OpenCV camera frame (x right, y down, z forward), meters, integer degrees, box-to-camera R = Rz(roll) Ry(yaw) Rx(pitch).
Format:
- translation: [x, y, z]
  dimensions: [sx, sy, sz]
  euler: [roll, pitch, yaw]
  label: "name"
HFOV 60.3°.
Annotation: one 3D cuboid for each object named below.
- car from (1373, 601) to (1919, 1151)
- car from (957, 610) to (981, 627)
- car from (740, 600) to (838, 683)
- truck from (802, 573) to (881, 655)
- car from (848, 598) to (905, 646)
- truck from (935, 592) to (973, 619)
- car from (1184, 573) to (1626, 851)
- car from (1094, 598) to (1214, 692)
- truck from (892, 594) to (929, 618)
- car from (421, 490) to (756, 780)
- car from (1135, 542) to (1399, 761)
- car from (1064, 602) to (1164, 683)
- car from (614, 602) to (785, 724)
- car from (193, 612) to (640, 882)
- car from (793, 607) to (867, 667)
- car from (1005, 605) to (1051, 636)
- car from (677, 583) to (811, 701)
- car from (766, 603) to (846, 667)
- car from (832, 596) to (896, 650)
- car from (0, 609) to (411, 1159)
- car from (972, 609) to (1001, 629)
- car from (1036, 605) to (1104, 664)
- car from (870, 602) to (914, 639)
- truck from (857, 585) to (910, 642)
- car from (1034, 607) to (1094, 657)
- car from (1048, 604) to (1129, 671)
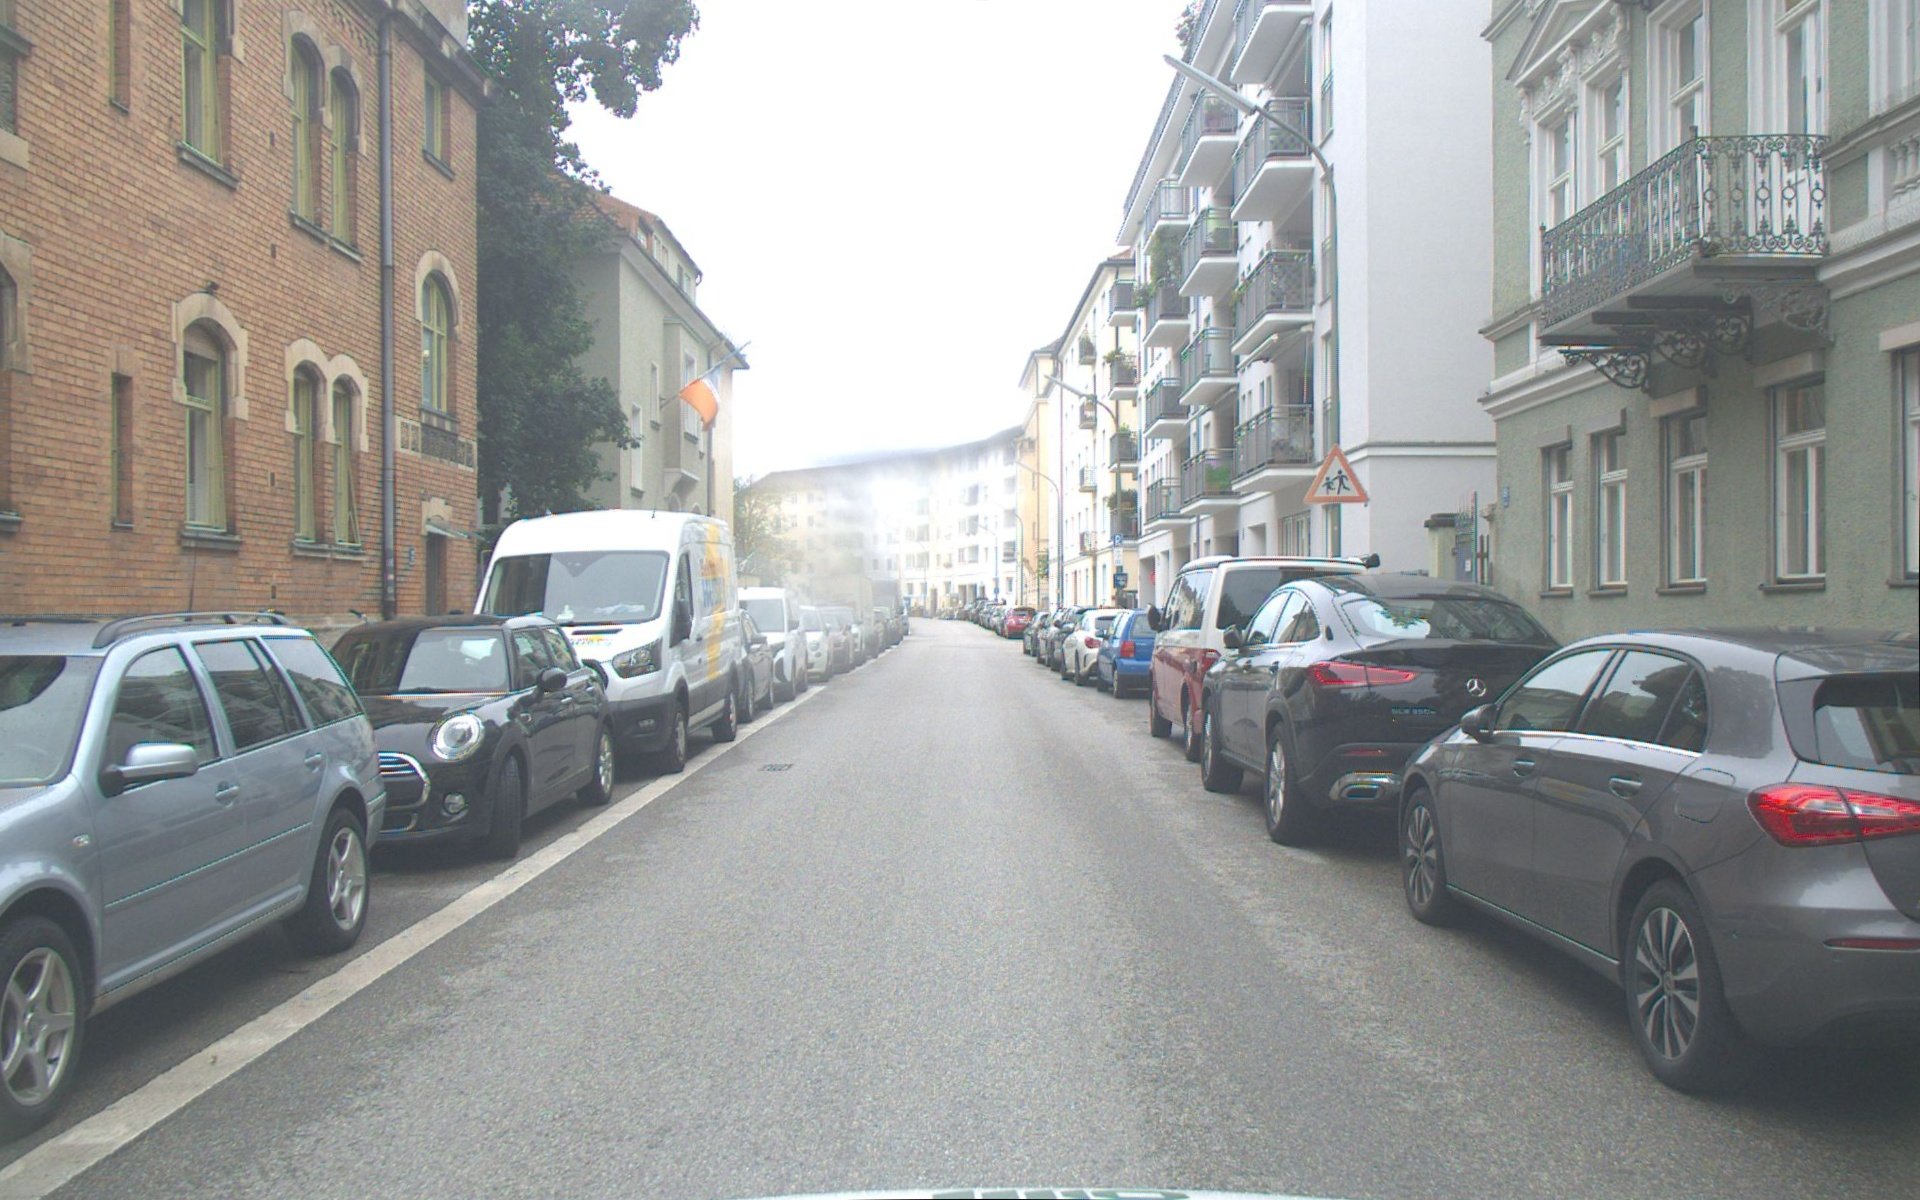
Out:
- translation: [3.101, 0.774, 6.711]
  dimensions: [1.692, 1.485, 4.415]
  euler: [1, 0, -1]
  label: "car"
- translation: [0.737, 1.552, 139.302]
  dimensions: [1.747, 1.409, 3.997]
  euler: [0, 0, -4]
  label: "car"
- translation: [-3.413, 0.811, 33.554]
  dimensions: [1.809, 1.567, 3.996]
  euler: [-1, -1, -4]
  label: "car"
- translation: [-3.590, 0.419, 50.845]
  dimensions: [1.952, 2.359, 5.410]
  euler: [-1, -1, 1]
  label: "truck"
- translation: [-3.272, 0.867, 65.321]
  dimensions: [1.952, 1.793, 4.381]
  euler: [-1, -1, 1]
  label: "car"
- translation: [-0.596, 0.481, 146.667]
  dimensions: [2.188, 2.340, 5.270]
  euler: [0, 0, -14]
  label: "truck"
- translation: [2.895, 0.667, 11.934]
  dimensions: [1.822, 1.578, 4.752]
  euler: [-1, -1, -1]
  label: "car"
- translation: [3.196, 0.724, 27.830]
  dimensions: [1.575, 1.459, 3.619]
  euler: [-1, -1, 0]
  label: "car"
- translation: [-5.076, 0.612, 167.810]
  dimensions: [2.578, 2.340, 5.418]
  euler: [0, 0, -15]
  label: "truck"
- translation: [-3.439, 0.317, 16.511]
  dimensions: [2.093, 2.390, 5.369]
  euler: [-1, -1, 0]
  label: "car"
- translation: [3.099, 0.497, 17.737]
  dimensions: [1.832, 2.002, 4.815]
  euler: [-1, -1, -1]
  label: "car"
- translation: [2.944, 0.791, 32.219]
  dimensions: [1.615, 1.459, 4.000]
  euler: [-1, -1, 1]
  label: "car"
- translation: [-3.402, 0.790, 22.250]
  dimensions: [1.708, 1.470, 3.999]
  euler: [-1, -1, -1]
  label: "car"
- translation: [-3.388, 0.831, 11.095]
  dimensions: [1.663, 1.456, 3.830]
  euler: [-1, -1, 1]
  label: "car"
- translation: [-3.403, 0.955, 43.944]
  dimensions: [1.759, 1.494, 3.865]
  euler: [-1, -1, -2]
  label: "car"
- translation: [3.165, 0.971, 78.112]
  dimensions: [1.747, 1.409, 3.997]
  euler: [0, 0, -4]
  label: "car"
- translation: [-3.434, 0.646, 26.882]
  dimensions: [1.784, 1.741, 3.998]
  euler: [-1, -1, -2]
  label: "car"
- translation: [-3.501, 0.785, 38.191]
  dimensions: [1.716, 1.392, 3.996]
  euler: [-1, -1, -4]
  label: "car"
- translation: [-3.358, 0.809, 58.731]
  dimensions: [1.952, 1.793, 4.381]
  euler: [-1, -1, 1]
  label: "car"
- translation: [-3.457, 0.817, 5.826]
  dimensions: [1.654, 1.480, 3.996]
  euler: [-3, 0, 0]
  label: "car"
- translation: [1.945, 1.380, 121.935]
  dimensions: [1.747, 1.409, 3.997]
  euler: [0, 0, -4]
  label: "car"
- translation: [2.893, 0.898, 44.201]
  dimensions: [1.615, 1.459, 4.000]
  euler: [-1, -1, 1]
  label: "car"
- translation: [-3.389, 1.030, 83.432]
  dimensions: [1.952, 1.793, 4.381]
  euler: [-1, -1, 1]
  label: "car"
- translation: [-3.291, 0.602, 71.912]
  dimensions: [1.952, 2.359, 5.410]
  euler: [-1, -1, 1]
  label: "truck"
- translation: [3.130, 0.950, 50.340]
  dimensions: [1.615, 1.459, 4.284]
  euler: [-1, -1, 1]
  label: "car"
- translation: [2.938, 0.846, 38.357]
  dimensions: [1.615, 1.459, 4.000]
  euler: [-1, -1, 1]
  label: "car"
